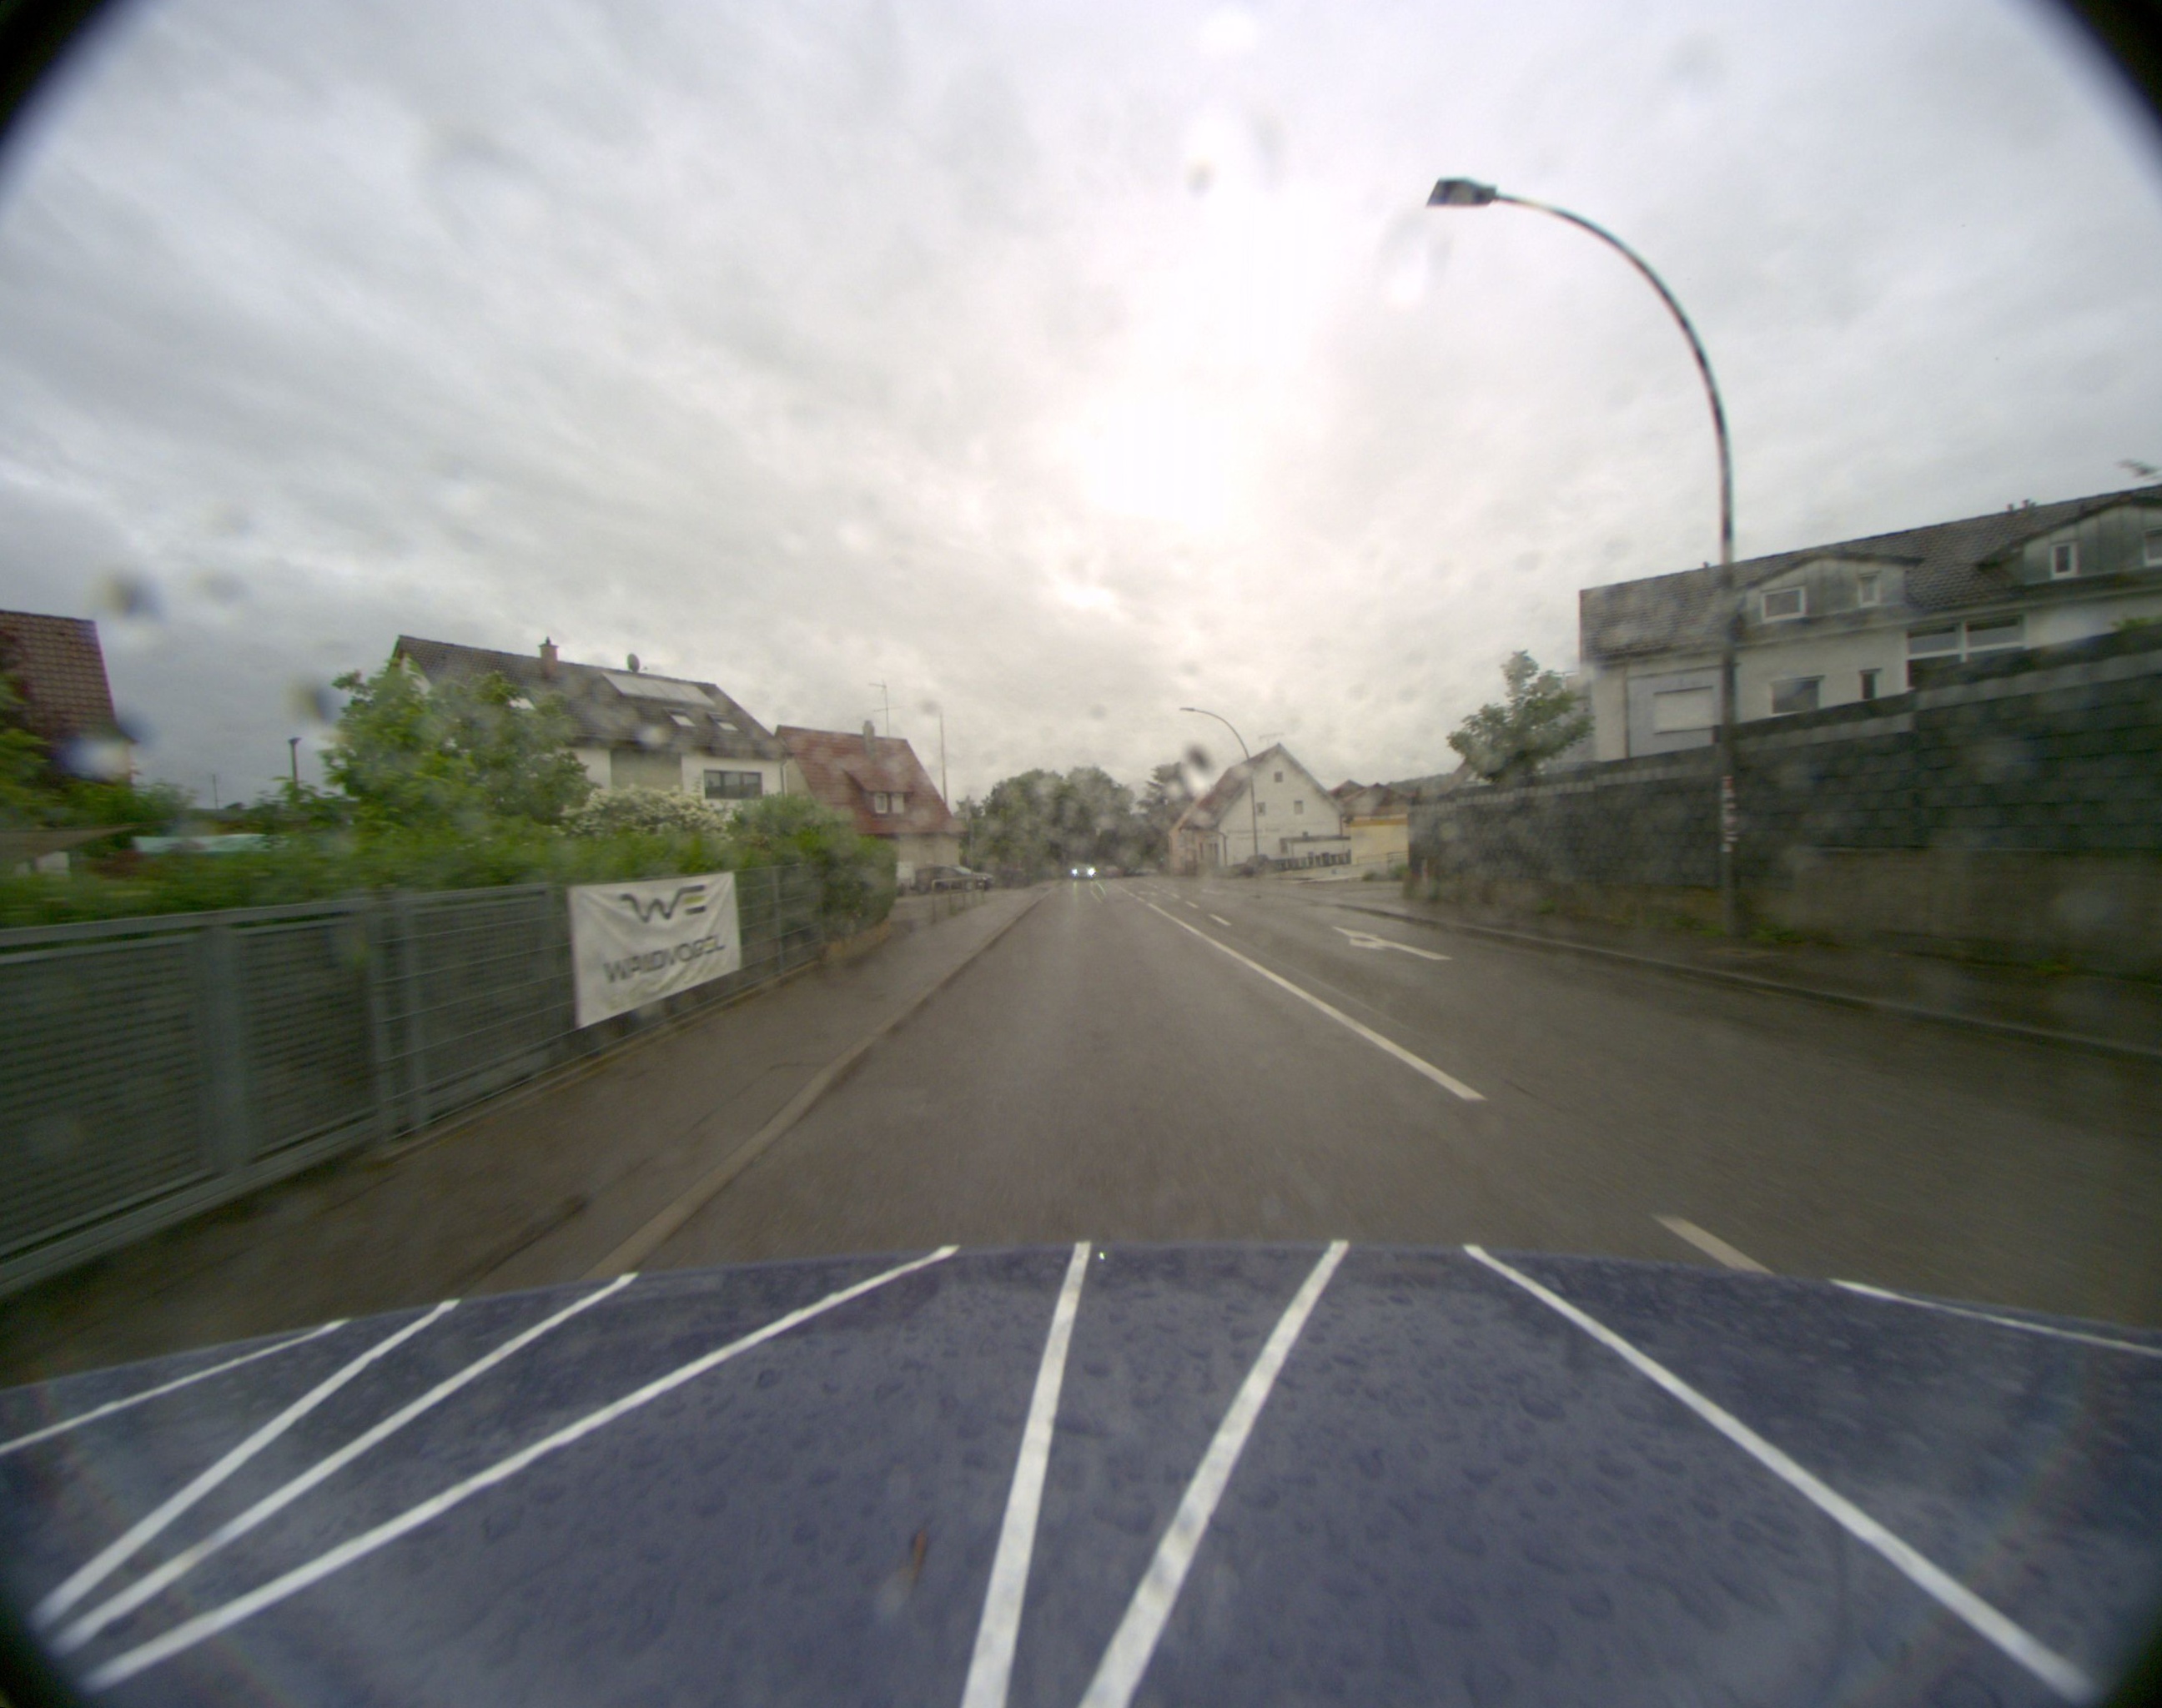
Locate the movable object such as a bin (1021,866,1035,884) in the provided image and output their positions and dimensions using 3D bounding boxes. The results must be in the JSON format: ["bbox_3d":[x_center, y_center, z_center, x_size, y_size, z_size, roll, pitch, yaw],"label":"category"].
[{"bbox_3d":[-3.030,1.187,43.810,0.530,1.015,0.734,-1,0,20],"label":"movable object such as a bin"}]

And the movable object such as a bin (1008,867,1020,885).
[{"bbox_3d":[-3.829,1.277,43.606,0.443,1.015,0.525,-1,0,25],"label":"movable object such as a bin"}]

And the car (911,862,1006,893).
[{"bbox_3d":[-6.622,1.254,41.076,4.563,1.375,2.003,-4,-2,20],"label":"car"}]

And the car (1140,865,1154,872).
[{"bbox_3d":[13.888,2.993,159.654,1.761,1.410,4.160,-1,-1,21],"label":"car"}]

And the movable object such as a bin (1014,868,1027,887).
[{"bbox_3d":[-3.367,1.304,42.299,0.628,1.015,0.541,-1,0,6],"label":"movable object such as a bin"}]

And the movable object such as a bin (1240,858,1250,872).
[{"bbox_3d":[12.170,0.821,56.350,0.639,1.026,0.605,-1,0,14],"label":"movable object such as a bin"}]

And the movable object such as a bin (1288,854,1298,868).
[{"bbox_3d":[15.459,0.510,55.468,0.639,1.026,0.605,-1,0,14],"label":"movable object such as a bin"}]

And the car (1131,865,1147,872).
[{"bbox_3d":[11.813,2.921,154.191,1.995,1.410,4.492,-1,-1,20],"label":"car"}]

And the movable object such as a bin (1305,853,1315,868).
[{"bbox_3d":[16.575,0.494,54.994,0.639,1.026,0.605,-5,-1,13],"label":"movable object such as a bin"}]

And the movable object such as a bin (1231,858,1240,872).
[{"bbox_3d":[11.510,0.824,56.529,0.639,1.026,0.674,-1,0,14],"label":"movable object such as a bin"}]

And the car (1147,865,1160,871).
[{"bbox_3d":[15.755,3.051,164.656,1.761,1.410,4.160,-1,-1,19],"label":"car"}]

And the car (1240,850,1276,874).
[{"bbox_3d":[11.870,0.540,50.856,1.904,1.433,3.834,-4,-2,19],"label":"car"}]

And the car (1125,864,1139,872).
[{"bbox_3d":[9.981,2.784,148.884,1.791,1.523,3.806,-1,-1,20],"label":"car"}]

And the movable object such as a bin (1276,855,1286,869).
[{"bbox_3d":[14.664,0.574,55.744,0.639,1.026,0.605,-1,0,14],"label":"movable object such as a bin"}]

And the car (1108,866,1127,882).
[{"bbox_3d":[3.951,2.186,83.457,1.948,1.564,4.227,-2,-1,2],"label":"car"}]

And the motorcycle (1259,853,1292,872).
[{"bbox_3d":[13.613,0.618,53.199,2.113,1.107,0.781,-6,0,17],"label":"motorcycle"}]

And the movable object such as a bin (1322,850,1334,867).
[{"bbox_3d":[17.754,0.337,54.623,0.639,1.124,0.605,-9,1,14],"label":"movable object such as a bin"}]

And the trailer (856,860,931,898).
[{"bbox_3d":[-9.832,1.300,39.816,3.454,1.788,1.691,-3,1,29],"label":"trailer"}]

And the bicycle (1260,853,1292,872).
[{"bbox_3d":[13.832,0.586,53.912,2.100,1.107,0.738,-6,1,17],"label":"bicycle"}]

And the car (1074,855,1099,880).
[{"bbox_3d":[0.479,1.172,65.994,1.998,2.002,4.000,-2,0,1],"label":"car"}]
